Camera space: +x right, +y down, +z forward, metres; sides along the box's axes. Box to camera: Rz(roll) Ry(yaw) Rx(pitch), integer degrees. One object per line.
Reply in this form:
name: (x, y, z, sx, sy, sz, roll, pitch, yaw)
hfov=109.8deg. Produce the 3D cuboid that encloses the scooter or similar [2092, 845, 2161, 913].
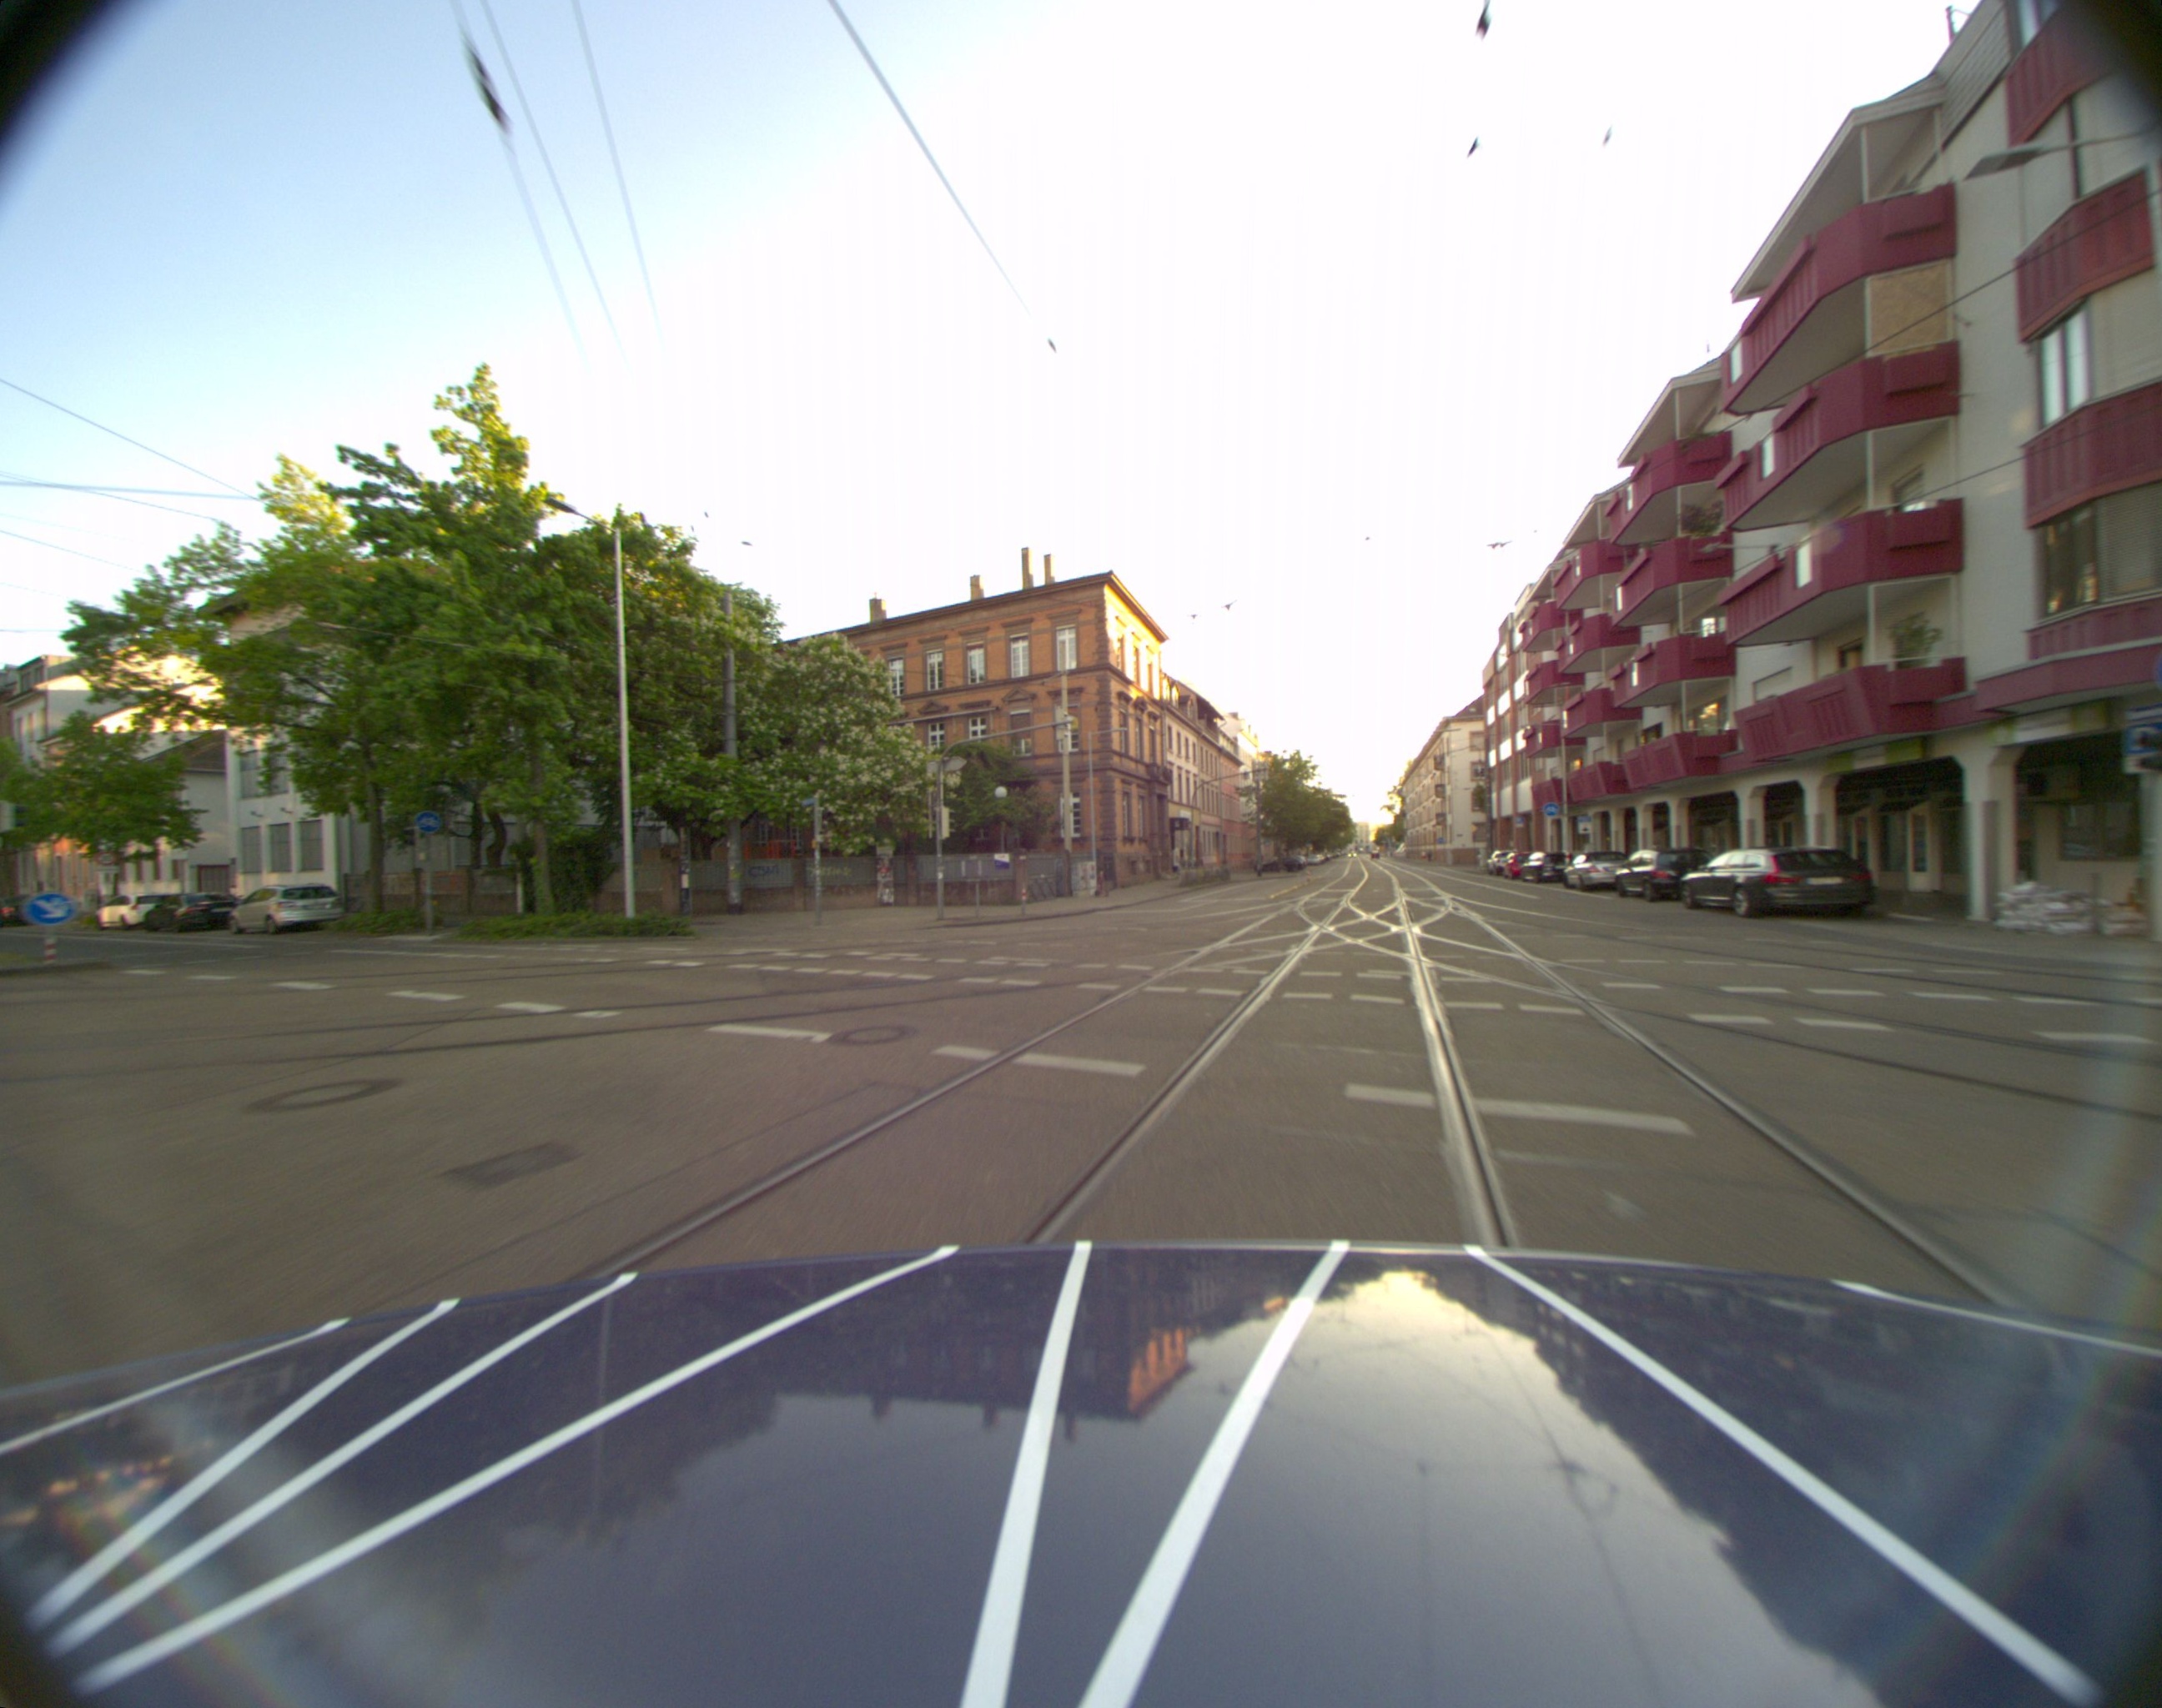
scooter or similar: (19.221, 0.434, 13.651, 0.549, 1.159, 1.482, -2, 0, 21)

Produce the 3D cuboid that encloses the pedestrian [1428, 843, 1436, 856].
pedestrian: (45.660, -0.573, 98.949, 0.796, 1.691, 0.983, -2, 0, 18)

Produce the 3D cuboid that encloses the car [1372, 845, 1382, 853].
car: (59.271, -1.076, 152.289, 1.561, 1.549, 3.760, -1, 0, 18)

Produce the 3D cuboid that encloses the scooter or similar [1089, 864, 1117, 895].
scooter or similar: (0.928, 1.042, 31.660, 0.642, 1.258, 1.585, 0, 1, 21)

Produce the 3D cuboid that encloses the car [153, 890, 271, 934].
car: (-32.326, 2.126, 28.250, 3.990, 1.357, 1.918, -2, 2, 27)

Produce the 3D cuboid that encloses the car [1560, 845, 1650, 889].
car: (19.077, 0.421, 27.885, 1.693, 1.405, 4.684, -4, -1, 22)

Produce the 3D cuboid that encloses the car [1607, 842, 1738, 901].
car: (17.234, 0.460, 22.387, 1.790, 1.499, 4.206, -4, -1, 21)

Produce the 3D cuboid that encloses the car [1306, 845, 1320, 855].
car: (31.492, -0.568, 102.936, 1.620, 1.373, 3.781, 0, 1, 20)

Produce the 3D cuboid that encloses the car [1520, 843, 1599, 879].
car: (22.224, 0.291, 35.524, 1.996, 1.470, 4.488, -4, -1, 18)

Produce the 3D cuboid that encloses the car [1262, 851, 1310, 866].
car: (21.461, 0.478, 79.714, 4.456, 1.507, 2.063, -1, 0, -3)

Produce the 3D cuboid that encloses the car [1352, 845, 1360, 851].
car: (78.253, -1.641, 216.149, 1.996, 1.674, 4.006, -3, -1, 20)

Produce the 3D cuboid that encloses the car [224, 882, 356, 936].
car: (-26.421, 1.808, 25.388, 3.990, 1.543, 1.918, -2, 2, 27)

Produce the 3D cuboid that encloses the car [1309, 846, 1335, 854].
car: (45.621, -0.768, 144.039, 4.387, 1.455, 1.720, -1, 0, 2)

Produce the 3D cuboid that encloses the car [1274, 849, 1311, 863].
car: (23.399, 0.247, 84.297, 3.565, 1.507, 1.743, -1, 0, -5)

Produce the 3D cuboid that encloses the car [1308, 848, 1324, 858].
car: (33.519, -0.202, 108.239, 1.782, 1.373, 4.698, 0, 1, 22)

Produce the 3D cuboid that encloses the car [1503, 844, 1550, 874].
car: (24.201, 0.261, 41.384, 1.613, 1.470, 3.484, -4, -1, 21)

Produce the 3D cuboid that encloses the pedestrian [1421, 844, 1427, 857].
pedestrian: (44.774, -0.450, 99.258, 0.591, 1.600, 0.812, -2, 0, 18)

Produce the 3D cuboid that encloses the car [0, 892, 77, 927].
car: (-52.581, 2.768, 38.119, 3.990, 1.543, 1.918, -2, 2, 27)

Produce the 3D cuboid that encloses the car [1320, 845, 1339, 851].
car: (67.935, -1.606, 207.771, 4.635, 1.508, 1.809, -2, 0, -7)

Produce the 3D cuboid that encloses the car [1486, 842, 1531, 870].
car: (26.234, 0.094, 46.774, 1.719, 1.546, 4.209, -3, -1, 21)

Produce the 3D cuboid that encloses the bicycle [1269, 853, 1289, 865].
bicycle: (18.621, 0.496, 71.439, 1.692, 1.095, 0.929, 0, 1, 19)

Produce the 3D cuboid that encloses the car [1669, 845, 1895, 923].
car: (15.070, 0.555, 16.776, 1.854, 1.448, 5.093, -2, 0, 21)

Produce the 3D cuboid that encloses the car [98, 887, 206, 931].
car: (-37.859, 2.203, 30.965, 3.990, 1.543, 1.918, -2, 2, 27)

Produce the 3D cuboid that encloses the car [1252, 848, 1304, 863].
car: (19.064, 0.142, 73.591, 4.618, 1.449, 1.710, 0, 0, -4)
